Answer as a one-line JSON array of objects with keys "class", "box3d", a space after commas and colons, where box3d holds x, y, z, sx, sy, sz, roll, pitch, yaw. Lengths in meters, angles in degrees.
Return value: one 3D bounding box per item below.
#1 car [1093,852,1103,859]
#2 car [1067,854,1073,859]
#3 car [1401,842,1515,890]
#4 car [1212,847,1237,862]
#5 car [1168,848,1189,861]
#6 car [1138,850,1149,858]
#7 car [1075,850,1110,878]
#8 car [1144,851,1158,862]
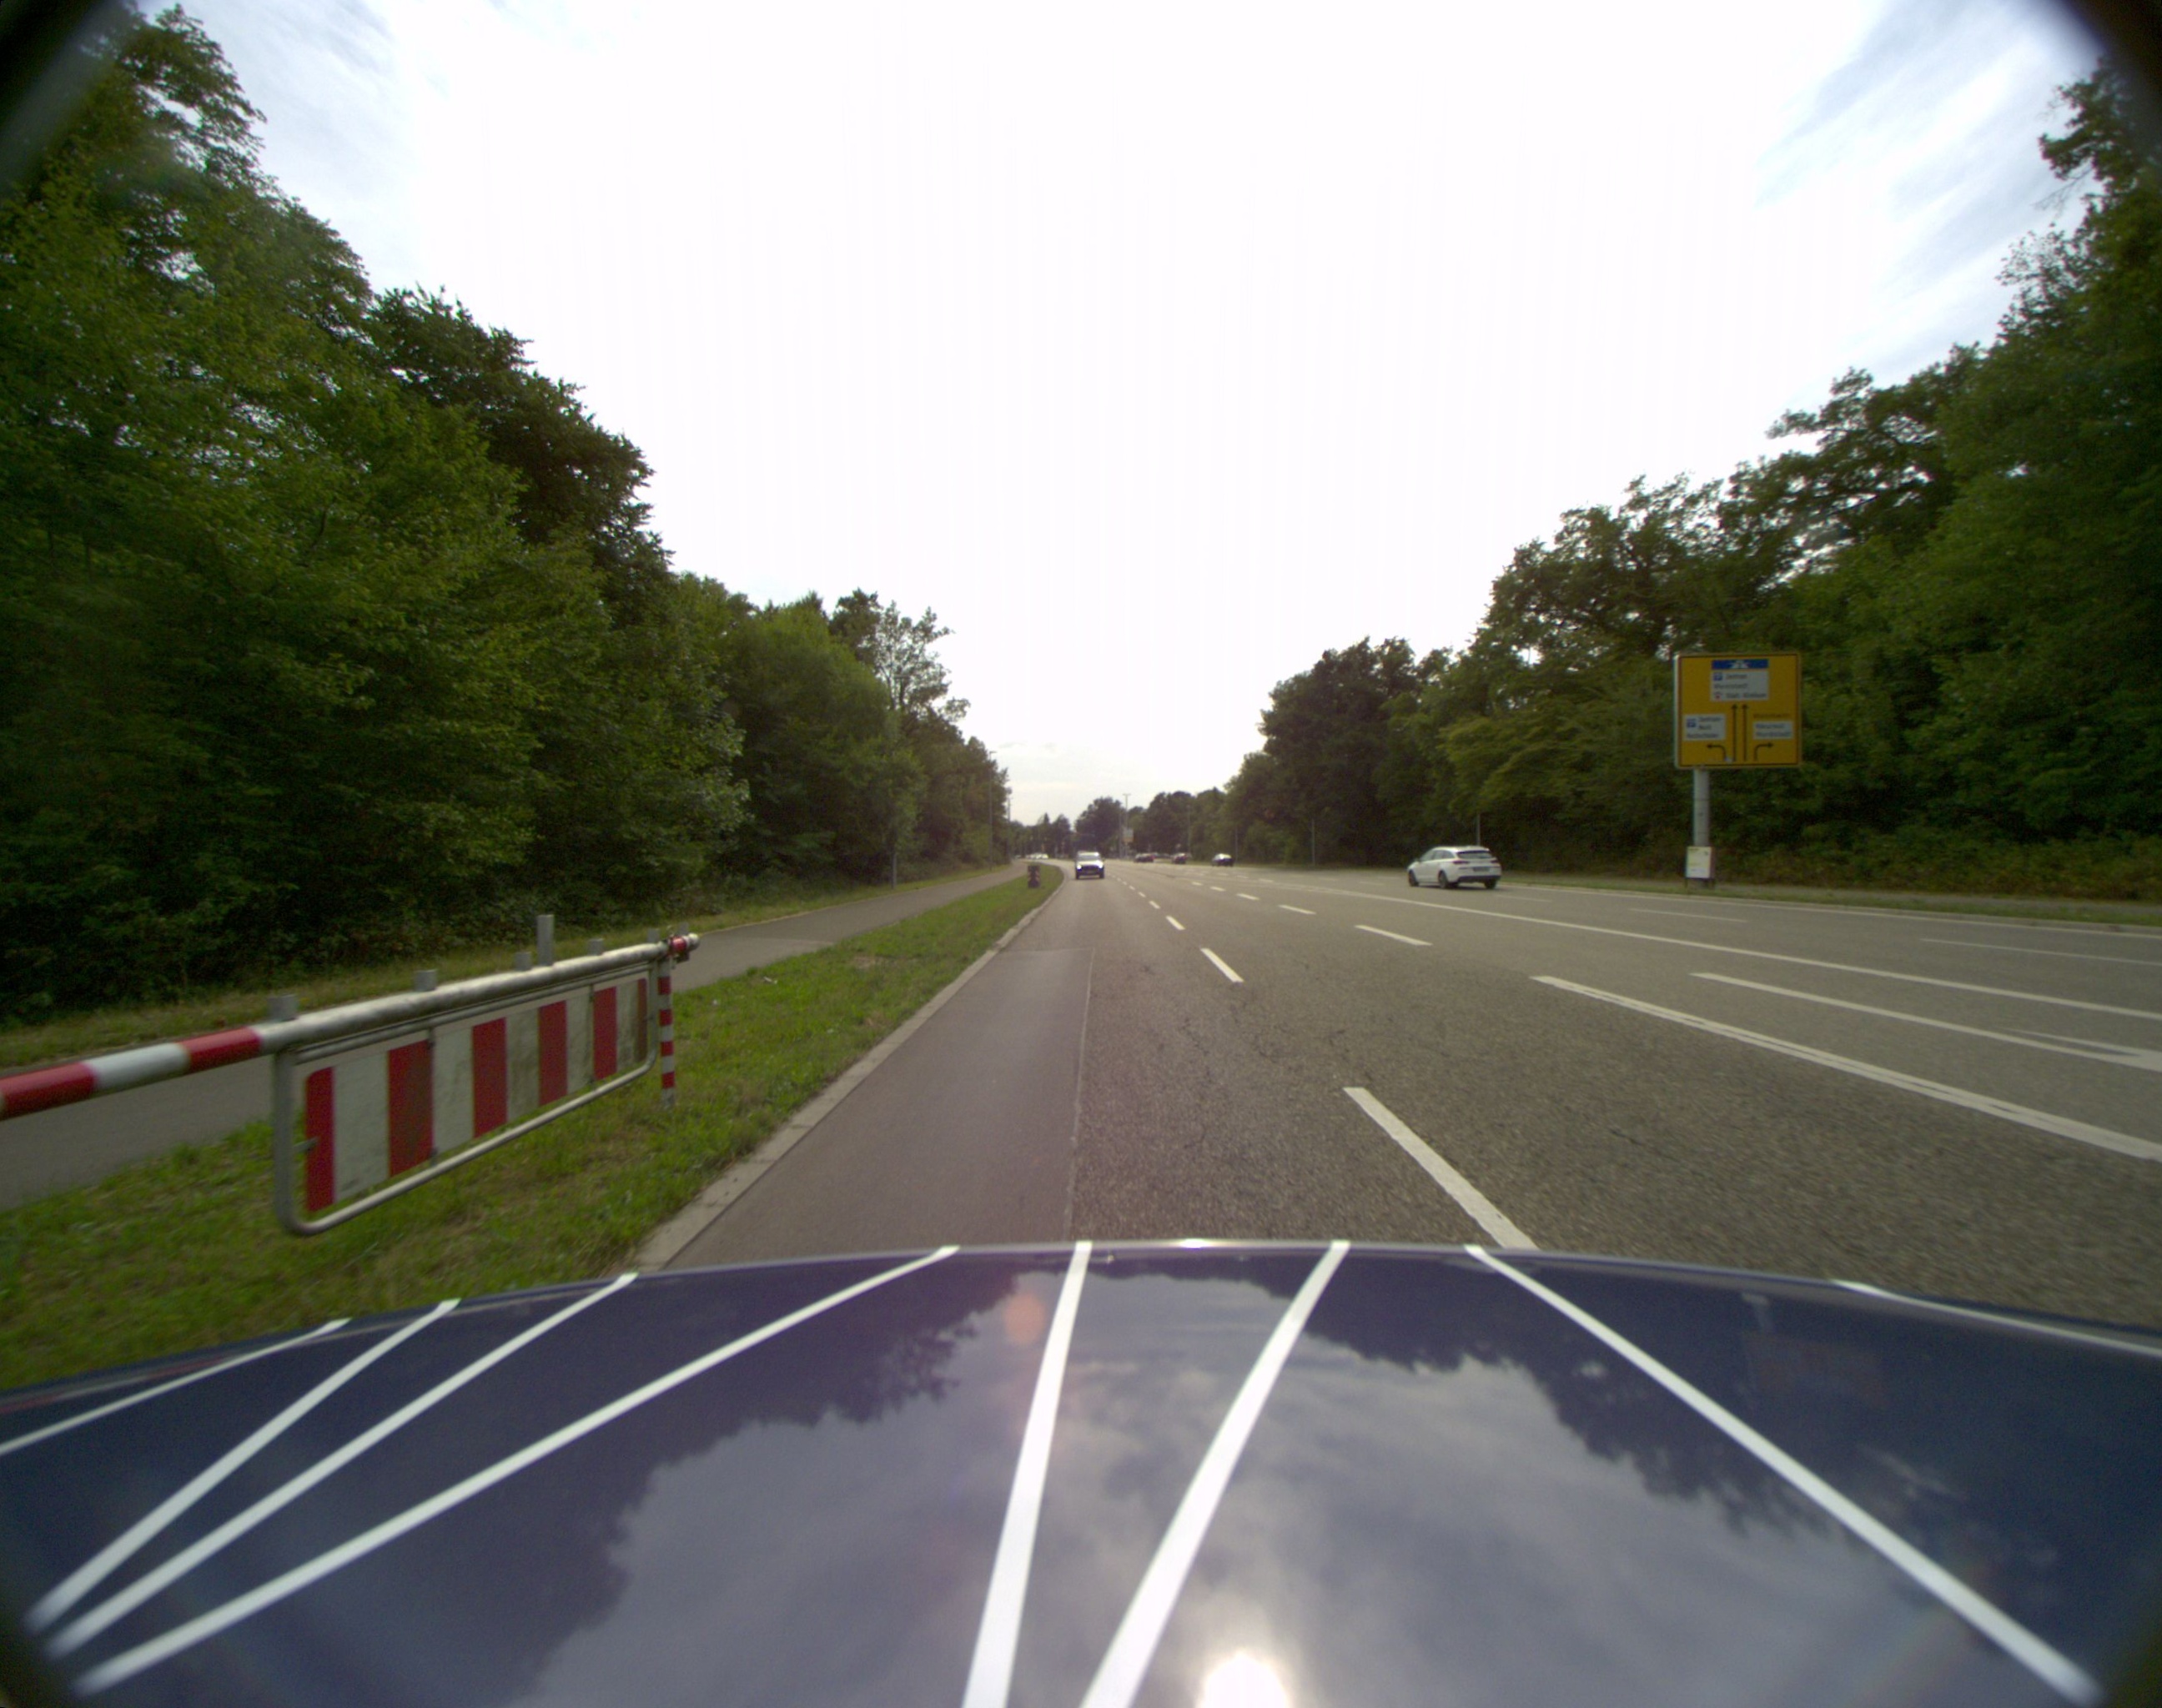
[{"class": "car", "box3d": [3.947, 0.324, 180.782, 1.999, 1.718, 3.999, -1, 0, -3]}, {"class": "car", "box3d": [-3.323, 0.759, 221.873, 1.702, 1.368, 3.999, -1, 0, -1]}, {"class": "car", "box3d": [13.519, 0.361, 27.592, 1.939, 1.492, 4.591, -3, 1, 3]}, {"class": "car", "box3d": [16.326, 0.046, 86.801, 1.999, 1.585, 3.999, -3, 1, -1]}, {"class": "car", "box3d": [14.570, 0.055, 113.734, 2.000, 1.871, 3.997, -3, 1, -8]}, {"class": "car", "box3d": [10.846, 0.061, 132.598, 1.400, 1.263, 3.778, -3, 1, -1]}, {"class": "car", "box3d": [0.682, 0.584, 47.683, 1.998, 1.565, 3.999, -3, 1, 0]}, {"class": "car", "box3d": [13.216, 0.382, 143.587, 1.999, 1.871, 3.999, -3, 1, -1]}]
